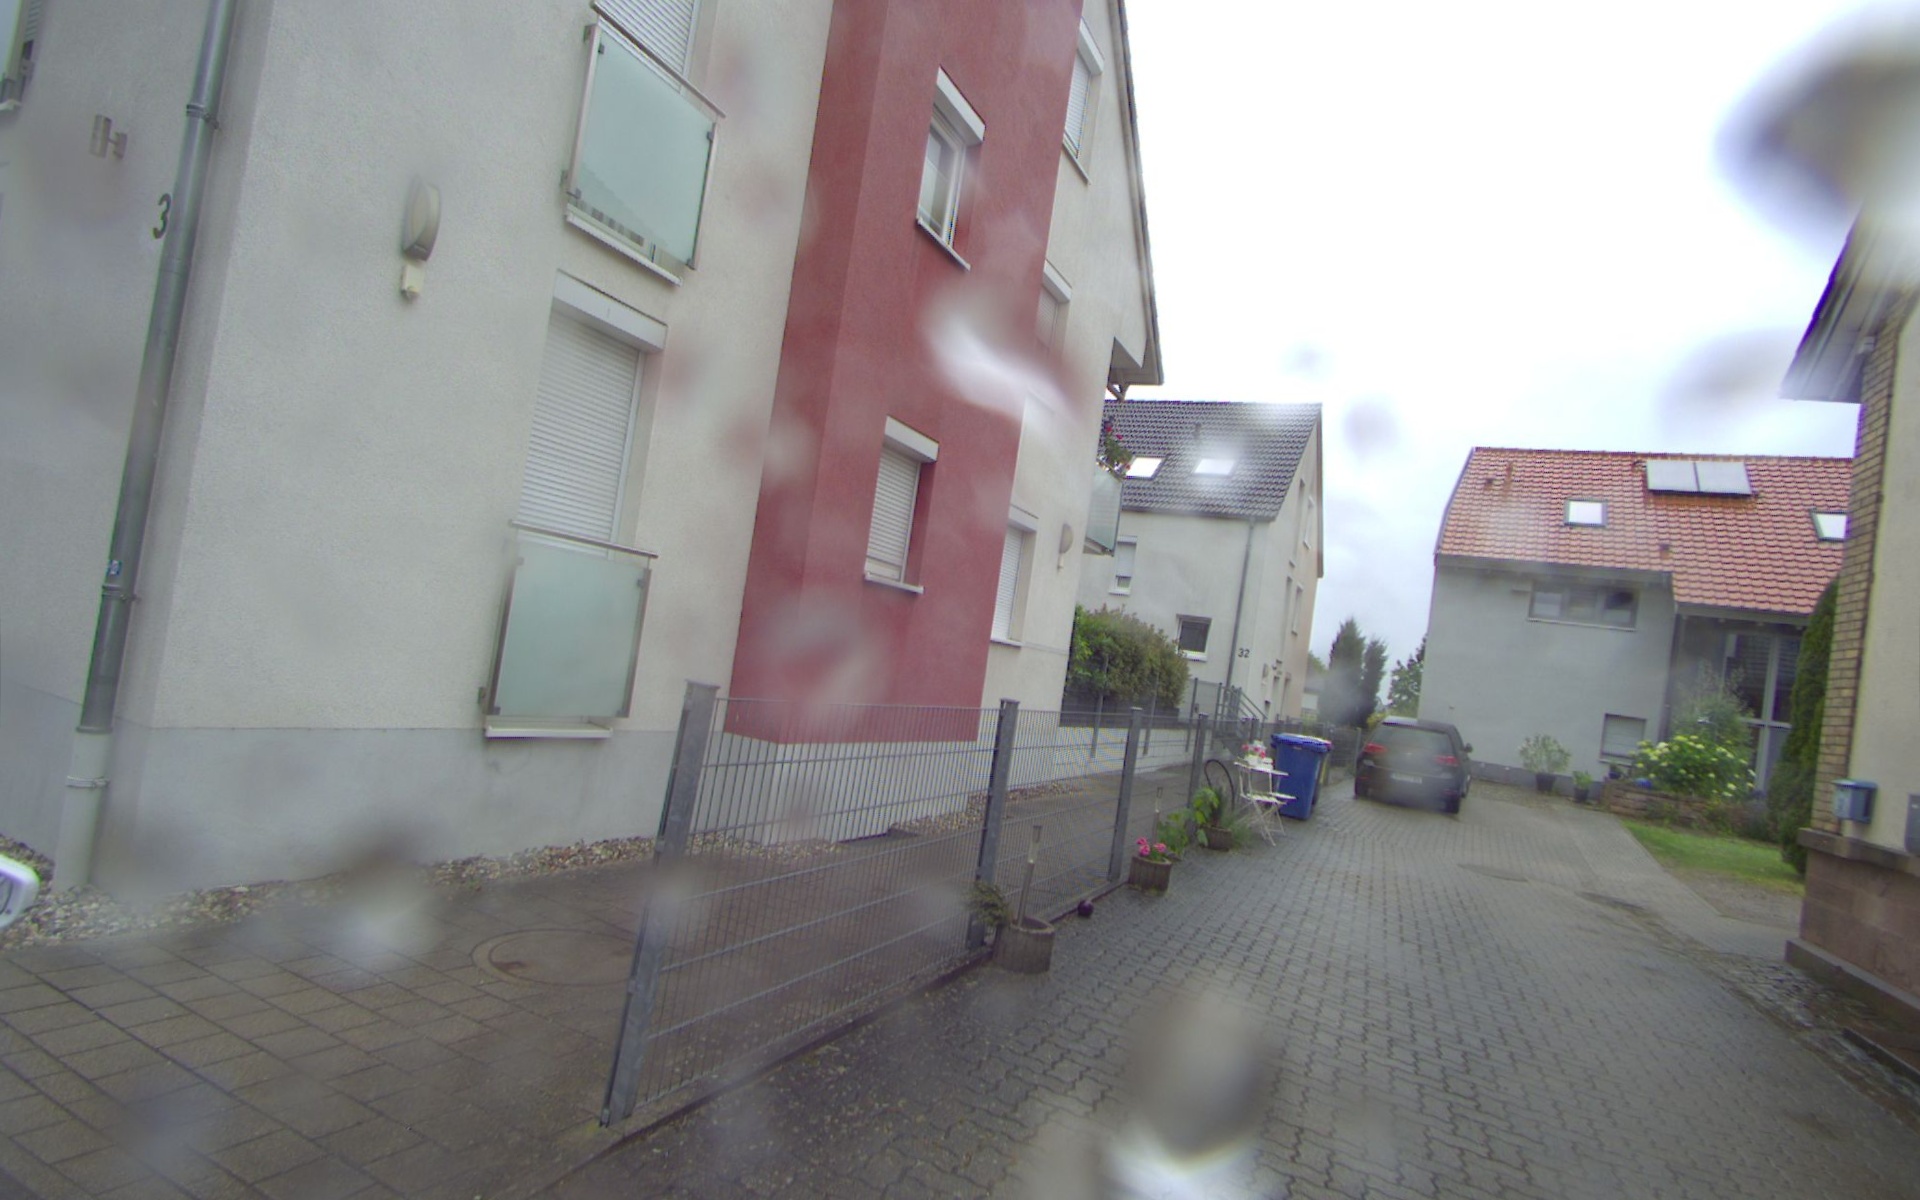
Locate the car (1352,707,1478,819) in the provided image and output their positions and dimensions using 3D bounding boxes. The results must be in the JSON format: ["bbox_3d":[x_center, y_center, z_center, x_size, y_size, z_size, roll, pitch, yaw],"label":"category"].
[{"bbox_3d":[8.550,2.913,18.705,1.656,1.491,3.993,7,0,30],"label":"car"}]

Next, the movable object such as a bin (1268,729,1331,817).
[{"bbox_3d":[4.816,2.438,14.264,0.675,1.108,0.536,7,-2,25],"label":"movable object such as a bin"}]

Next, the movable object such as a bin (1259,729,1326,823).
[{"bbox_3d":[4.466,2.343,13.493,0.675,1.108,0.536,7,-2,25],"label":"movable object such as a bin"}]
